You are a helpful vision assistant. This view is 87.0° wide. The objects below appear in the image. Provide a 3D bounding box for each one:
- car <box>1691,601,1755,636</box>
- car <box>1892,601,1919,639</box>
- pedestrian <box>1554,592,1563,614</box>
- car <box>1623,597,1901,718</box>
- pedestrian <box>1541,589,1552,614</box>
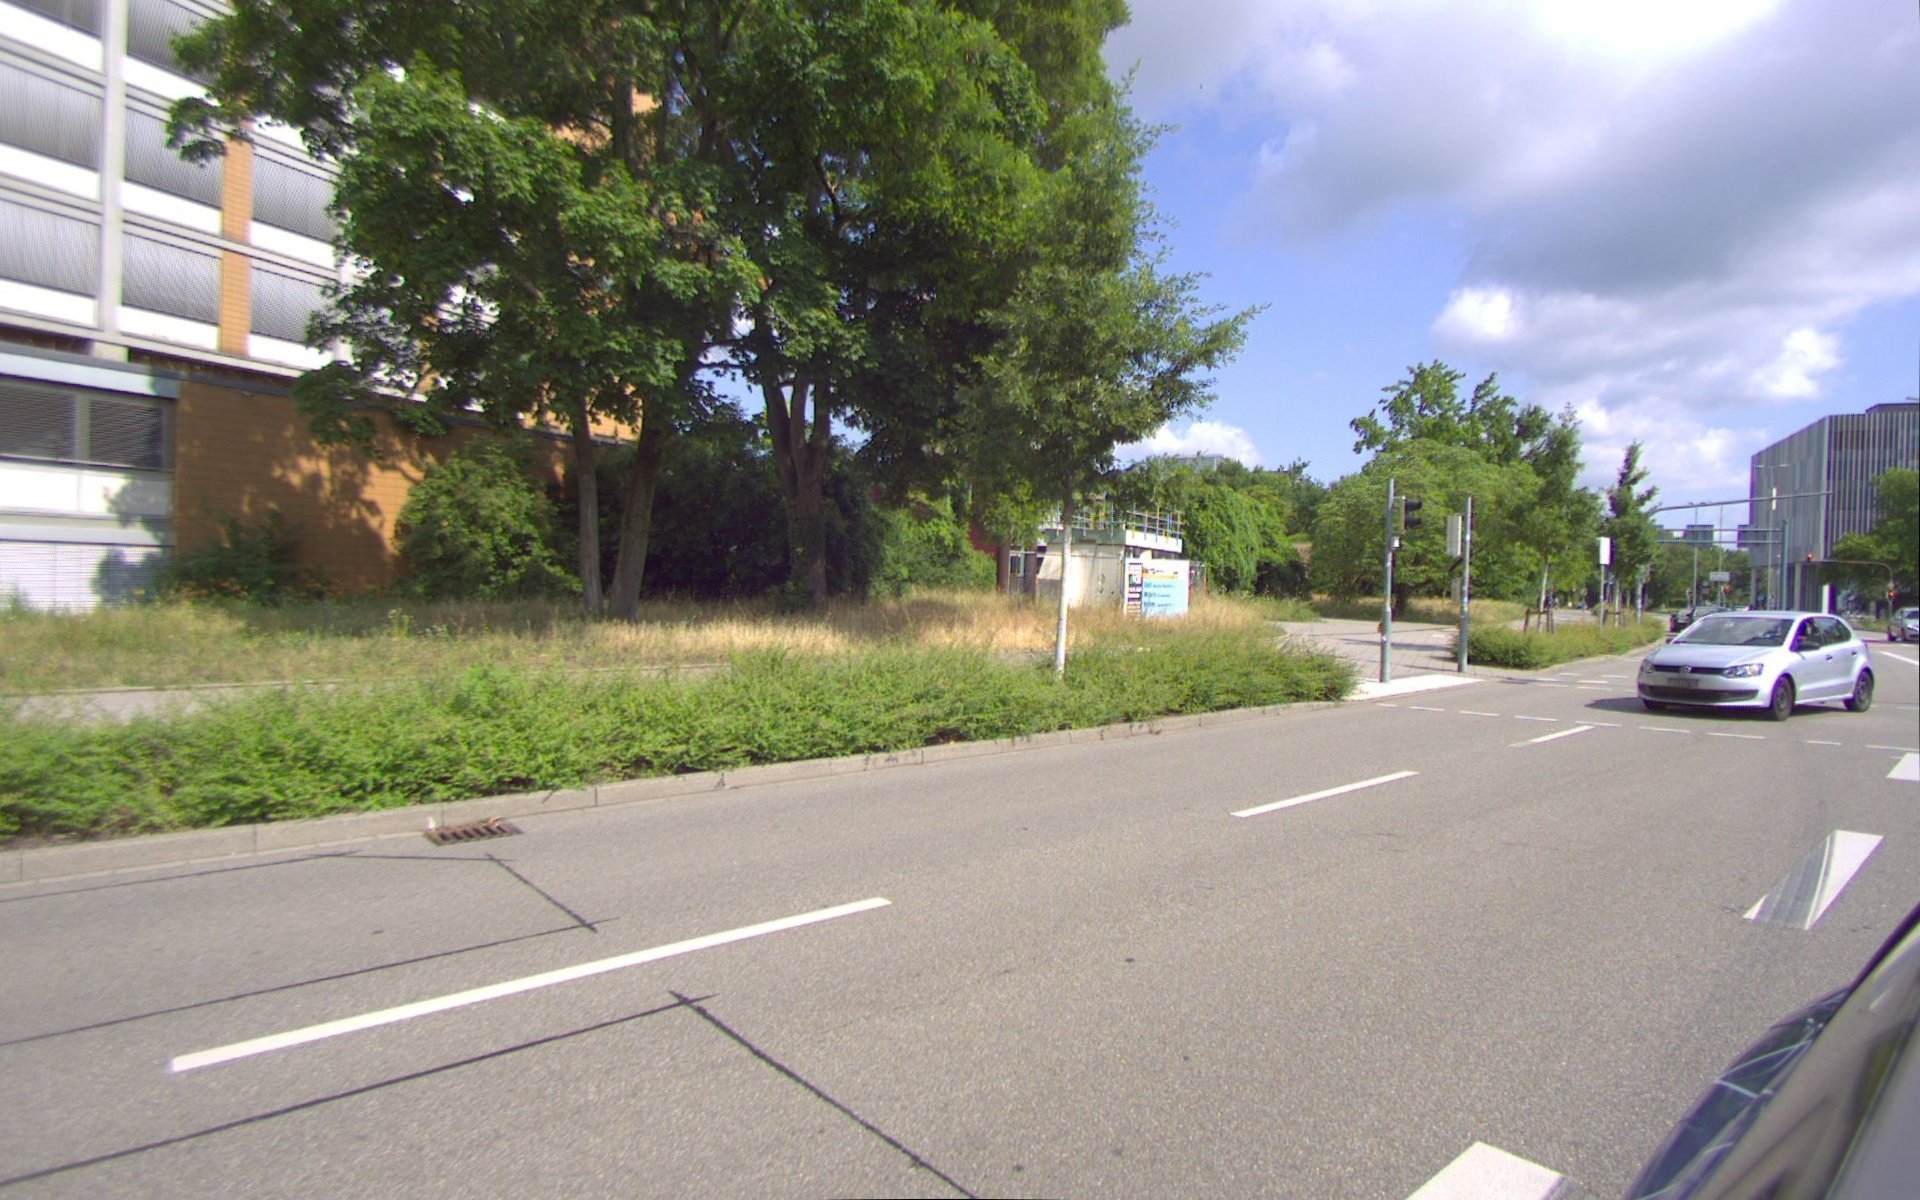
[{"bbox_3d":[34.417,0.801,45.728,1.987,1.394,4.110,3,2,34],"label":"car"},{"bbox_3d":[40.219,0.794,41.592,2.048,1.460,4.723,0,0,34],"label":"car"},{"bbox_3d":[49.598,0.221,83.901,0.536,1.791,0.519,2,-1,26],"label":"pedestrian"},{"bbox_3d":[11.367,0.742,14.300,3.924,1.460,1.659,1,1,-29],"label":"car"},{"bbox_3d":[39.887,0.097,68.797,0.536,1.628,0.519,2,-1,26],"label":"pedestrian"}]
